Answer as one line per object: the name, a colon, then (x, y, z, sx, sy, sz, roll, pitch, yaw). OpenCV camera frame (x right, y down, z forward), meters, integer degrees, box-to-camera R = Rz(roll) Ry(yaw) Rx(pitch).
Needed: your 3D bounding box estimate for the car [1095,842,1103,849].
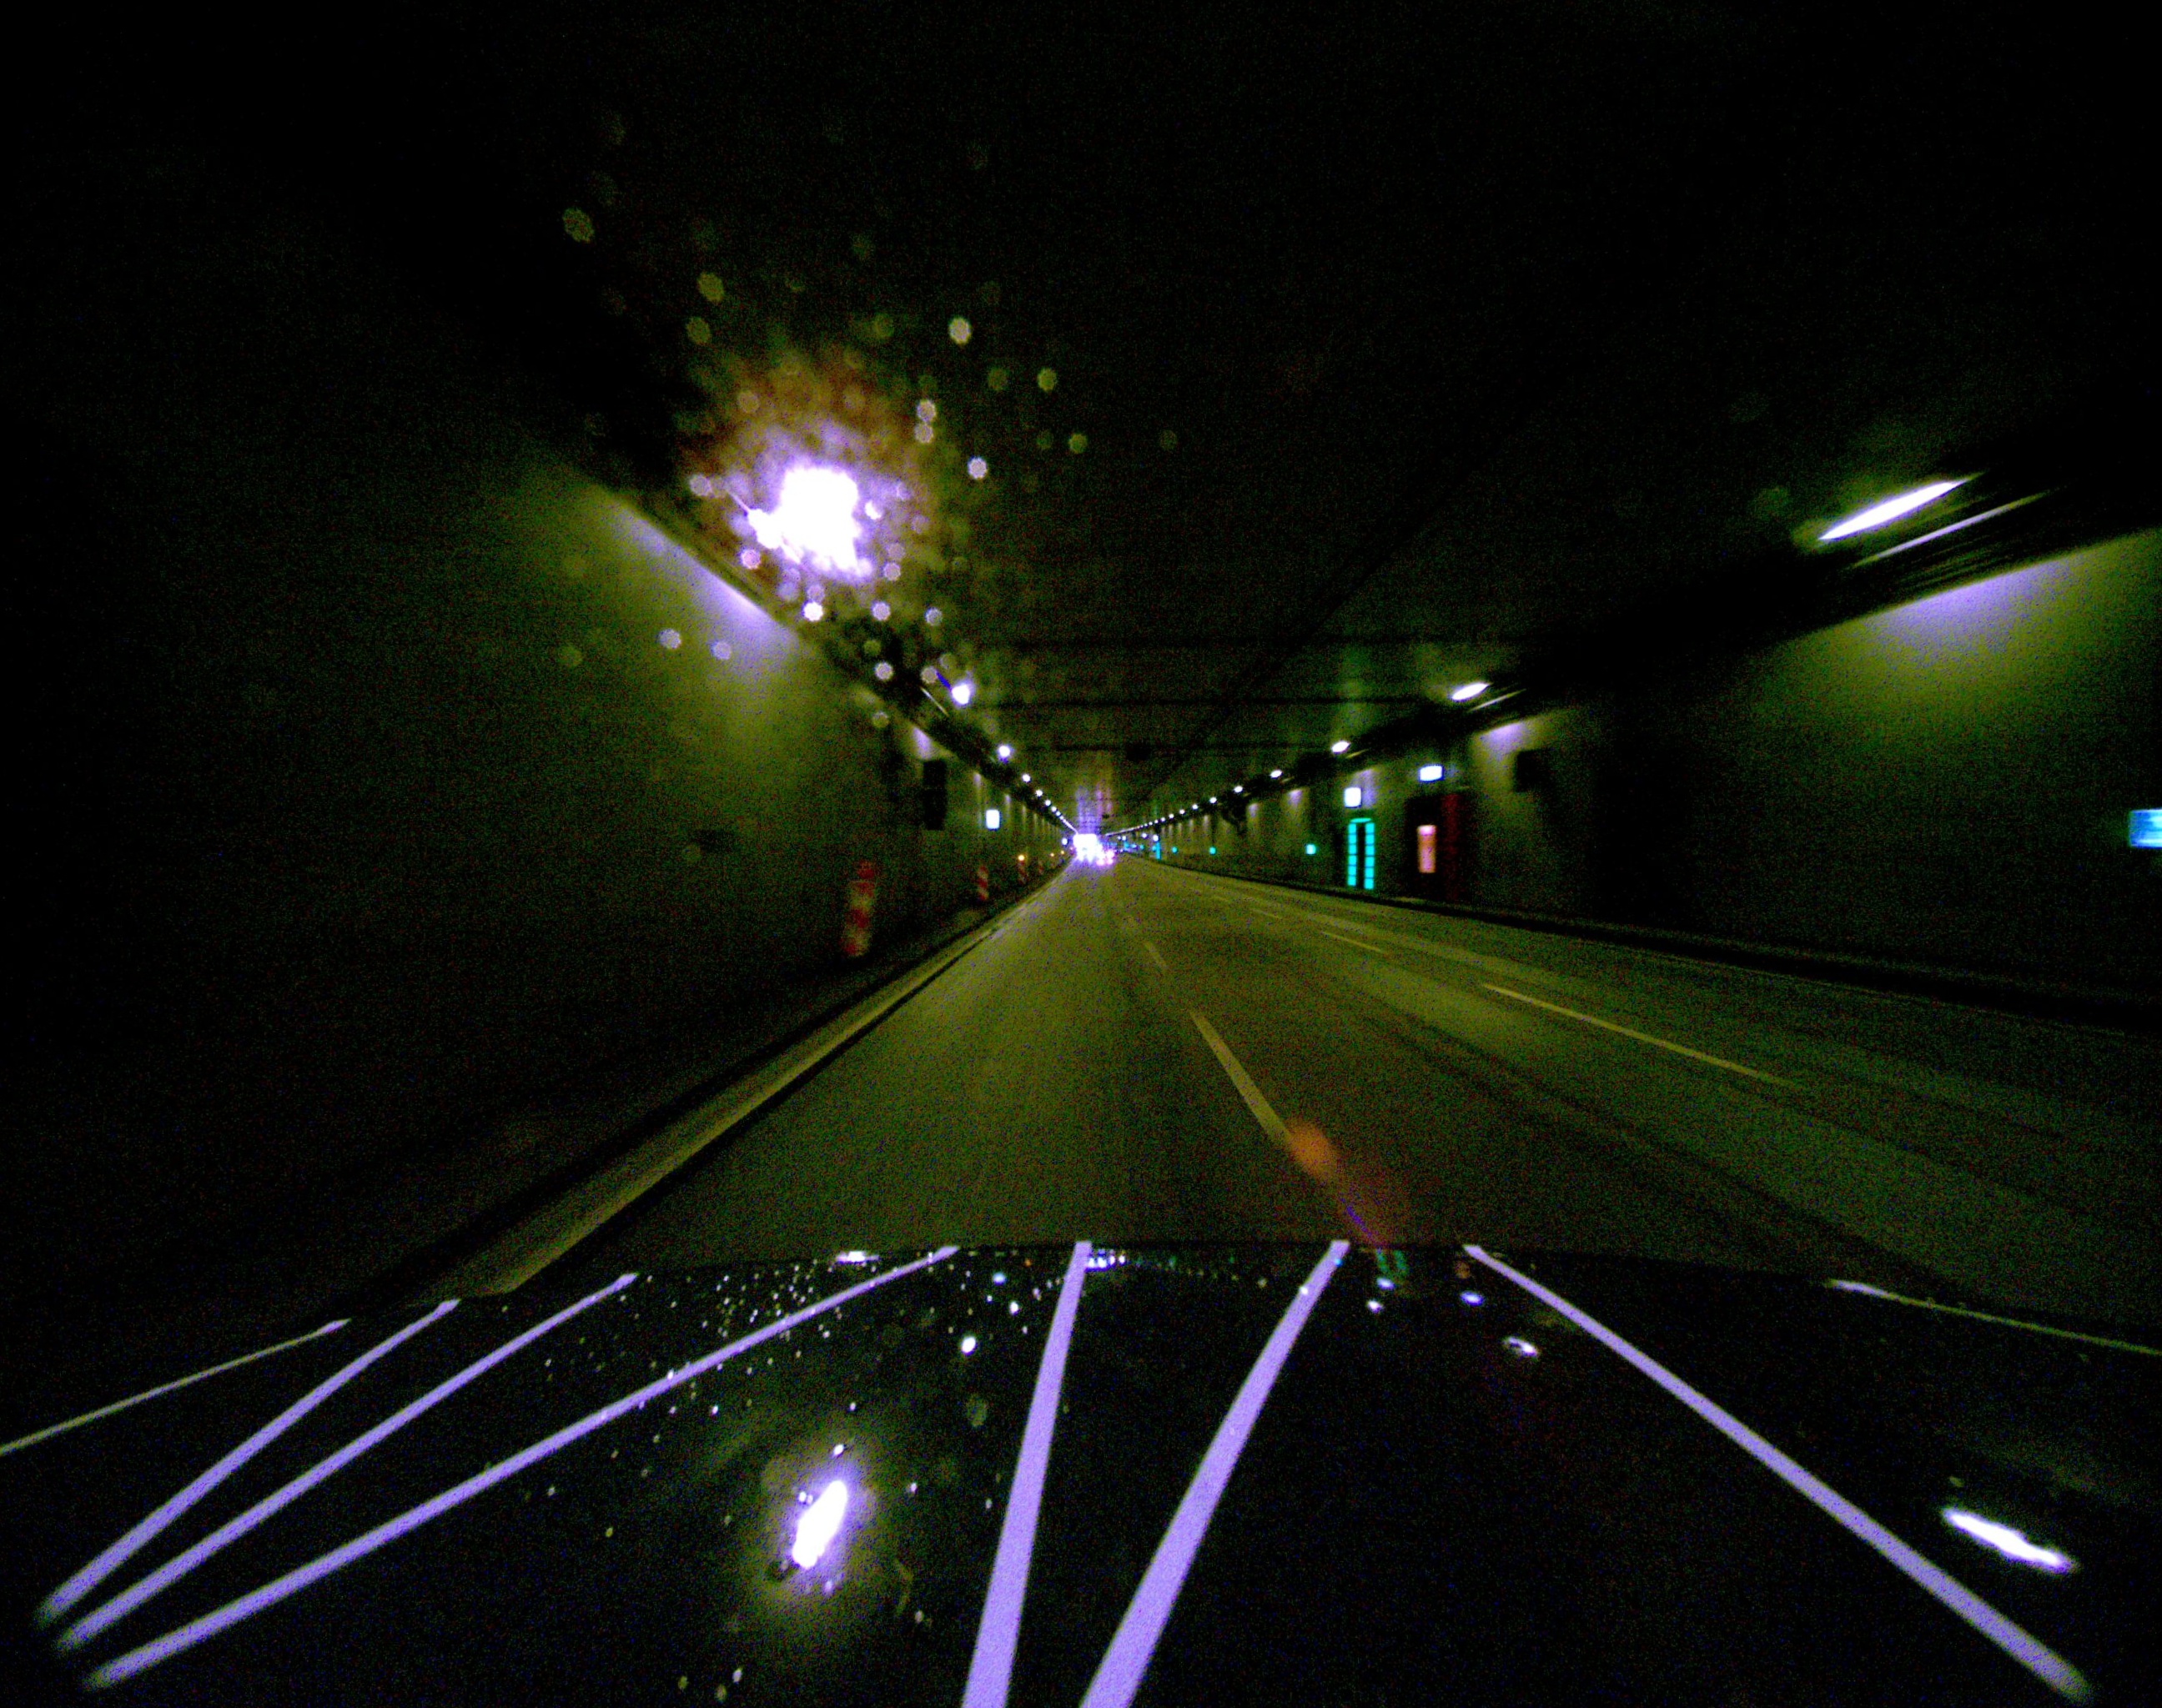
car: (5.113, -2.463, 215.486, 1.998, 1.756, 3.999, -2, 1, 1)

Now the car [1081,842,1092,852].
car: (0.994, -1.227, 139.960, 1.998, 1.686, 3.999, -2, 1, 1)

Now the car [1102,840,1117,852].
car: (4.389, -1.298, 117.778, 1.998, 1.685, 4.000, -4, 0, 0)

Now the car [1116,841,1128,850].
car: (7.687, -1.545, 142.086, 1.998, 1.686, 4.000, -1, 0, 1)
